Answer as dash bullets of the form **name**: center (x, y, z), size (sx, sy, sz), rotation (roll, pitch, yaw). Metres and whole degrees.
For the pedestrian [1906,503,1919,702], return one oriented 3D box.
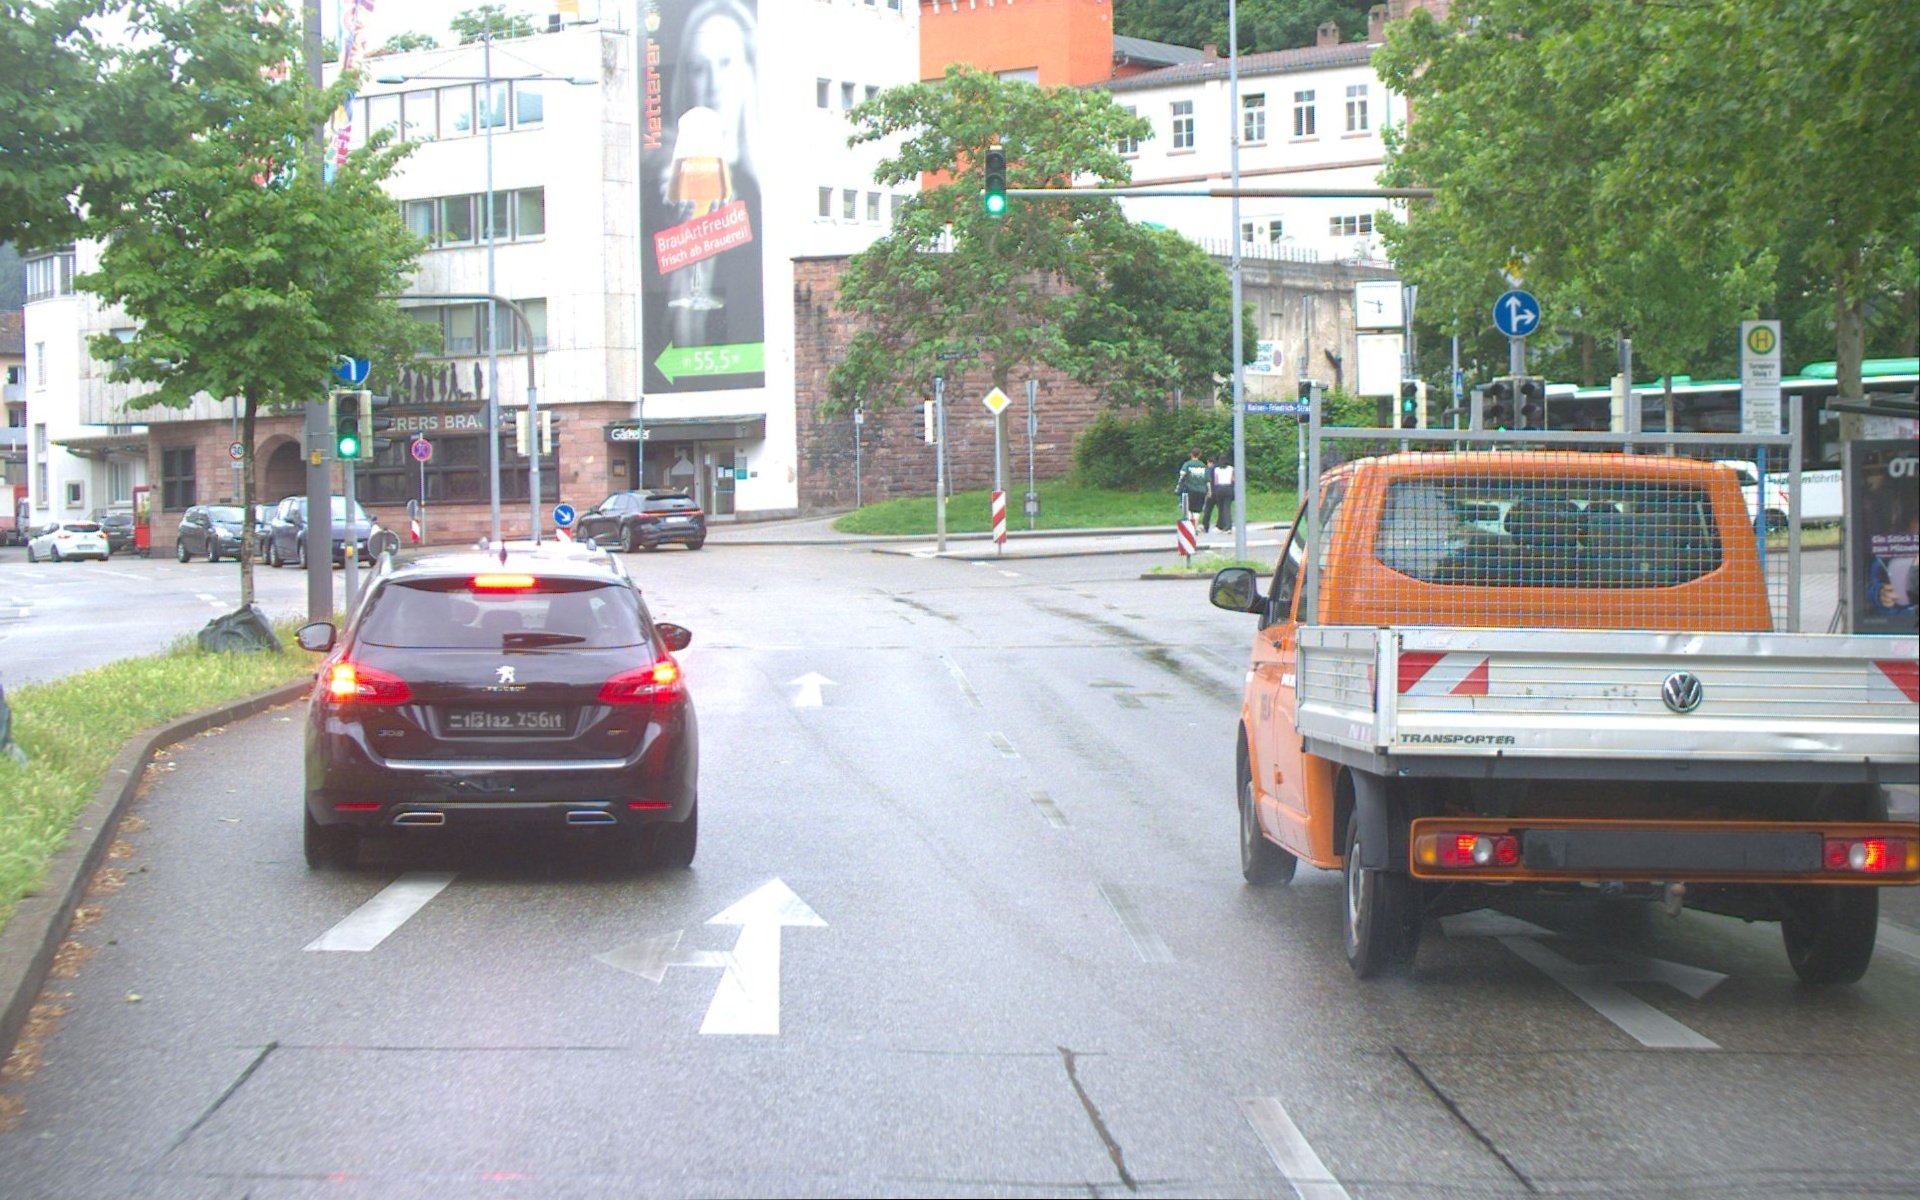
- **pedestrian**: center (8.454, 0.015, 29.512), size (0.540, 1.689, 0.554), rotation (0, 3, 27)

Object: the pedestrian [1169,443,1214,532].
- **pedestrian**: center (4.767, -2.309, 70.850), size (0.879, 1.825, 0.729), rotation (0, 1, -1)

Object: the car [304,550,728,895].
- **car**: center (-2.279, 0.486, 16.883), size (1.798, 1.429, 4.398), rotation (0, 1, -10)

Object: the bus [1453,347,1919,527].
- **bus**: center (14.481, -3.156, 65.737), size (9.626, 3.205, 2.706), rotation (-1, 3, -3)

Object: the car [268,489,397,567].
- **car**: center (-13.964, -1.628, 76.365), size (1.755, 1.609, 4.212), rotation (-3, 3, -25)

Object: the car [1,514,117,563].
- **car**: center (-28.883, -1.983, 110.134), size (3.863, 1.391, 1.666), rotation (3, 4, 40)

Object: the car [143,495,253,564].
- **car**: center (-19.213, -1.792, 86.580), size (1.755, 1.609, 4.212), rotation (-3, 3, -25)

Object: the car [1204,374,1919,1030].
- **car**: center (2.255, 0.266, 13.682), size (2.101, 2.082, 5.542), rotation (0, 1, -1)

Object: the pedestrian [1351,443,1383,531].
- **pedestrian**: center (7.996, -2.220, 67.535), size (0.556, 1.699, 0.528), rotation (-2, 3, 7)

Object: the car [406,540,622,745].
- **car**: center (-3.574, 0.290, 28.005), size (1.536, 1.456, 3.630), rotation (-1, 2, -5)

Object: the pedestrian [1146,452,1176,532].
- **pedestrian**: center (4.151, -2.226, 70.941), size (0.566, 1.610, 0.691), rotation (1, 0, 1)

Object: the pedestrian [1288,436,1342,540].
- **pedestrian**: center (6.988, -2.210, 67.705), size (0.786, 2.006, 0.587), rotation (-1, 4, 34)

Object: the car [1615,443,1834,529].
- **car**: center (13.864, -2.088, 62.420), size (3.557, 1.446, 1.591), rotation (-1, 3, -4)

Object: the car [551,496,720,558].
- **car**: center (-7.632, -1.696, 80.500), size (1.790, 1.398, 4.632), rotation (-1, 1, -37)
